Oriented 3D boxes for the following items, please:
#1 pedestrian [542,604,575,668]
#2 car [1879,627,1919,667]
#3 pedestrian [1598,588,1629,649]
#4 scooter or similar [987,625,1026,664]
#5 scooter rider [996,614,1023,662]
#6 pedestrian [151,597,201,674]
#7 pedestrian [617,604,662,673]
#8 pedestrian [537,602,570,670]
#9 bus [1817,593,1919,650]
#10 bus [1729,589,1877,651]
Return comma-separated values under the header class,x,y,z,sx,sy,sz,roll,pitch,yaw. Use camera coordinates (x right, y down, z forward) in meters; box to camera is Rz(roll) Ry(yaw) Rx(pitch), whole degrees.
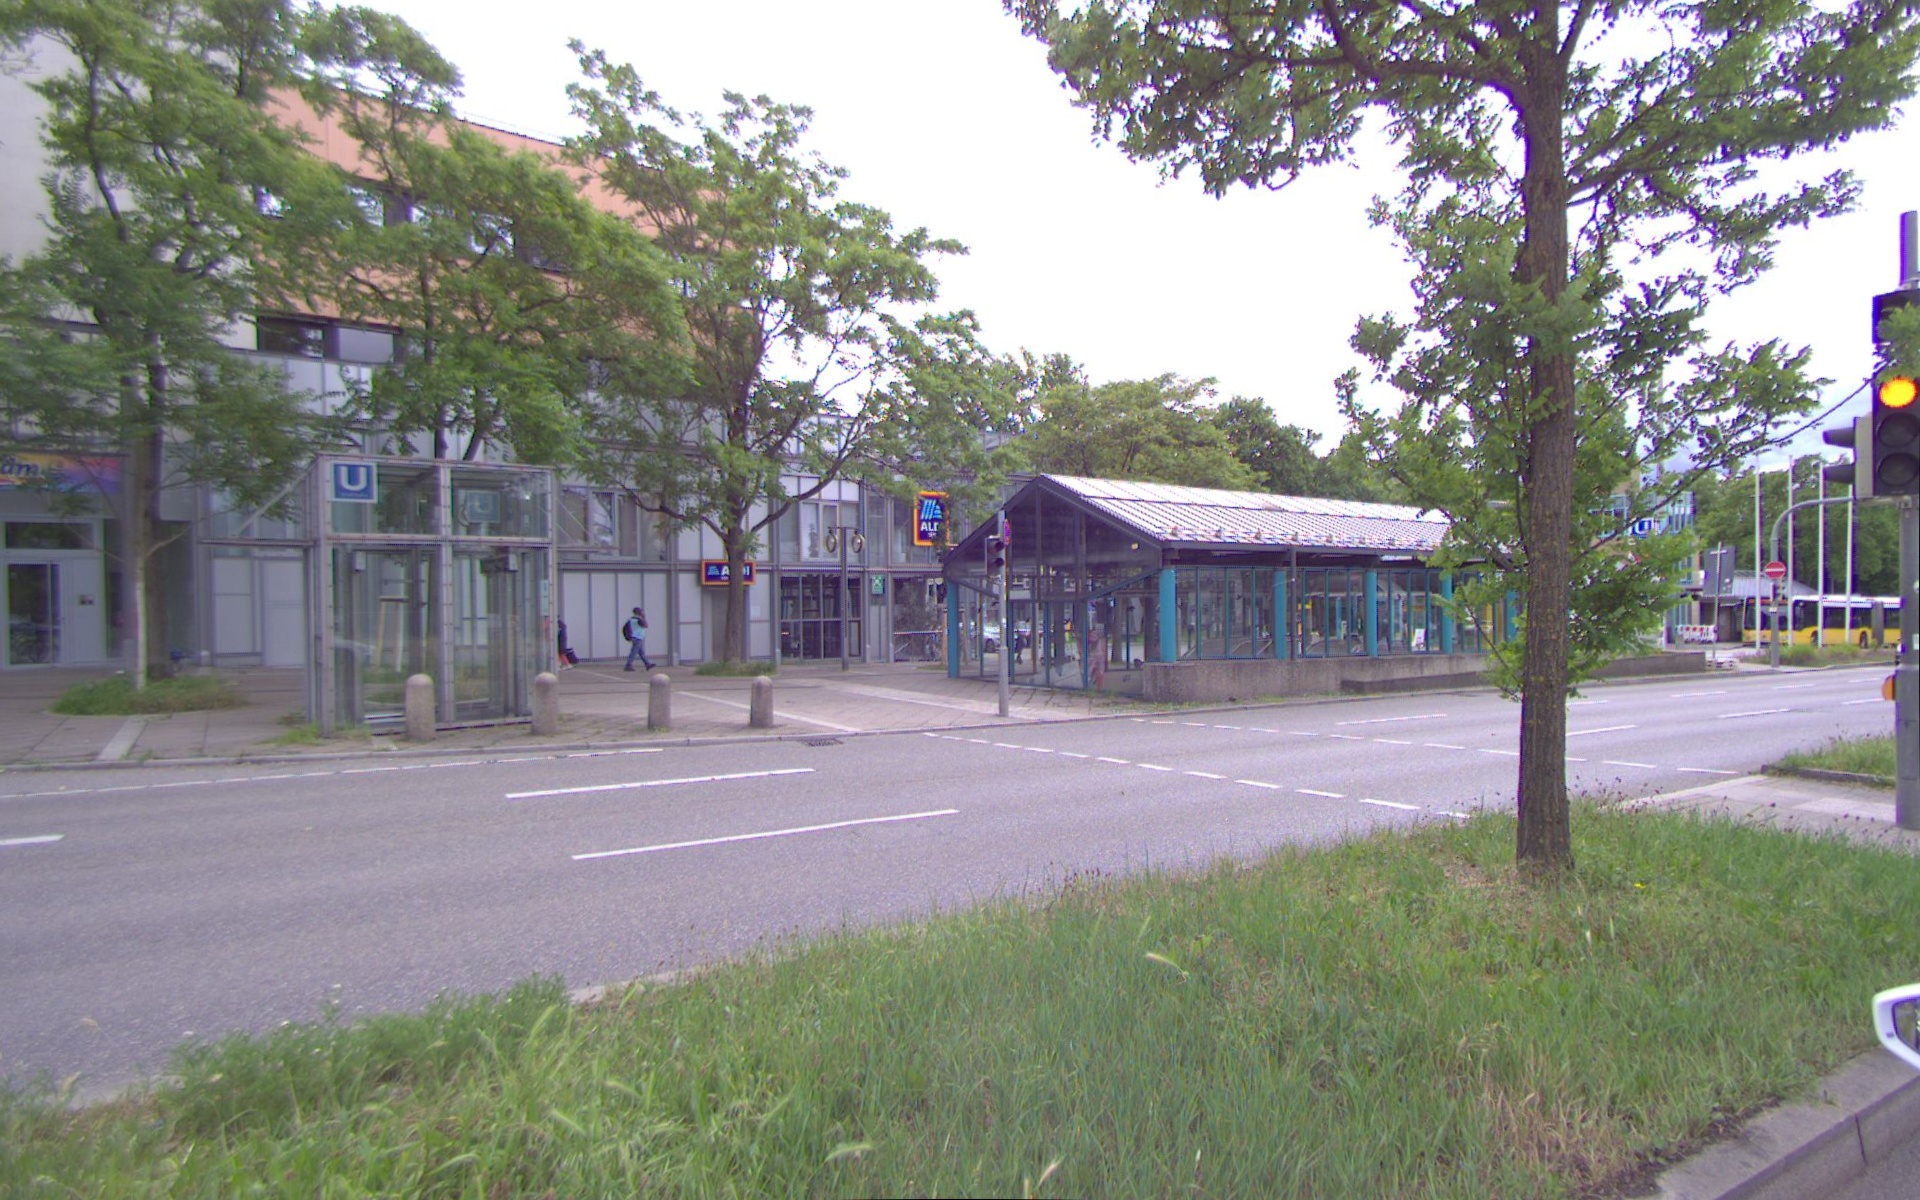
class,x,y,z,sx,sy,sz,roll,pitch,yaw
pedestrian,-10.313,0.910,25.804,0.674,1.610,0.513,0,-1,-39
car,38.091,1.822,39.440,3.955,1.505,1.983,1,-1,-32
pedestrian,21.952,0.623,33.754,0.639,2.040,0.677,1,-1,-34
scooter or similar,1.569,1.484,33.699,1.276,1.284,0.476,1,2,-37
scooter rider,1.670,1.281,33.770,0.700,1.566,0.521,1,2,-37
pedestrian,-16.842,0.752,21.582,0.819,1.607,0.629,1,-1,-40
pedestrian,-8.390,0.981,26.282,0.879,1.739,0.764,1,2,-39
pedestrian,-10.646,0.930,26.332,0.674,1.750,0.560,0,-1,-39
bus,59.502,1.403,64.526,10.592,3.476,2.822,1,-1,-26
bus,50.442,1.217,59.994,10.592,3.476,2.822,1,-1,-26
